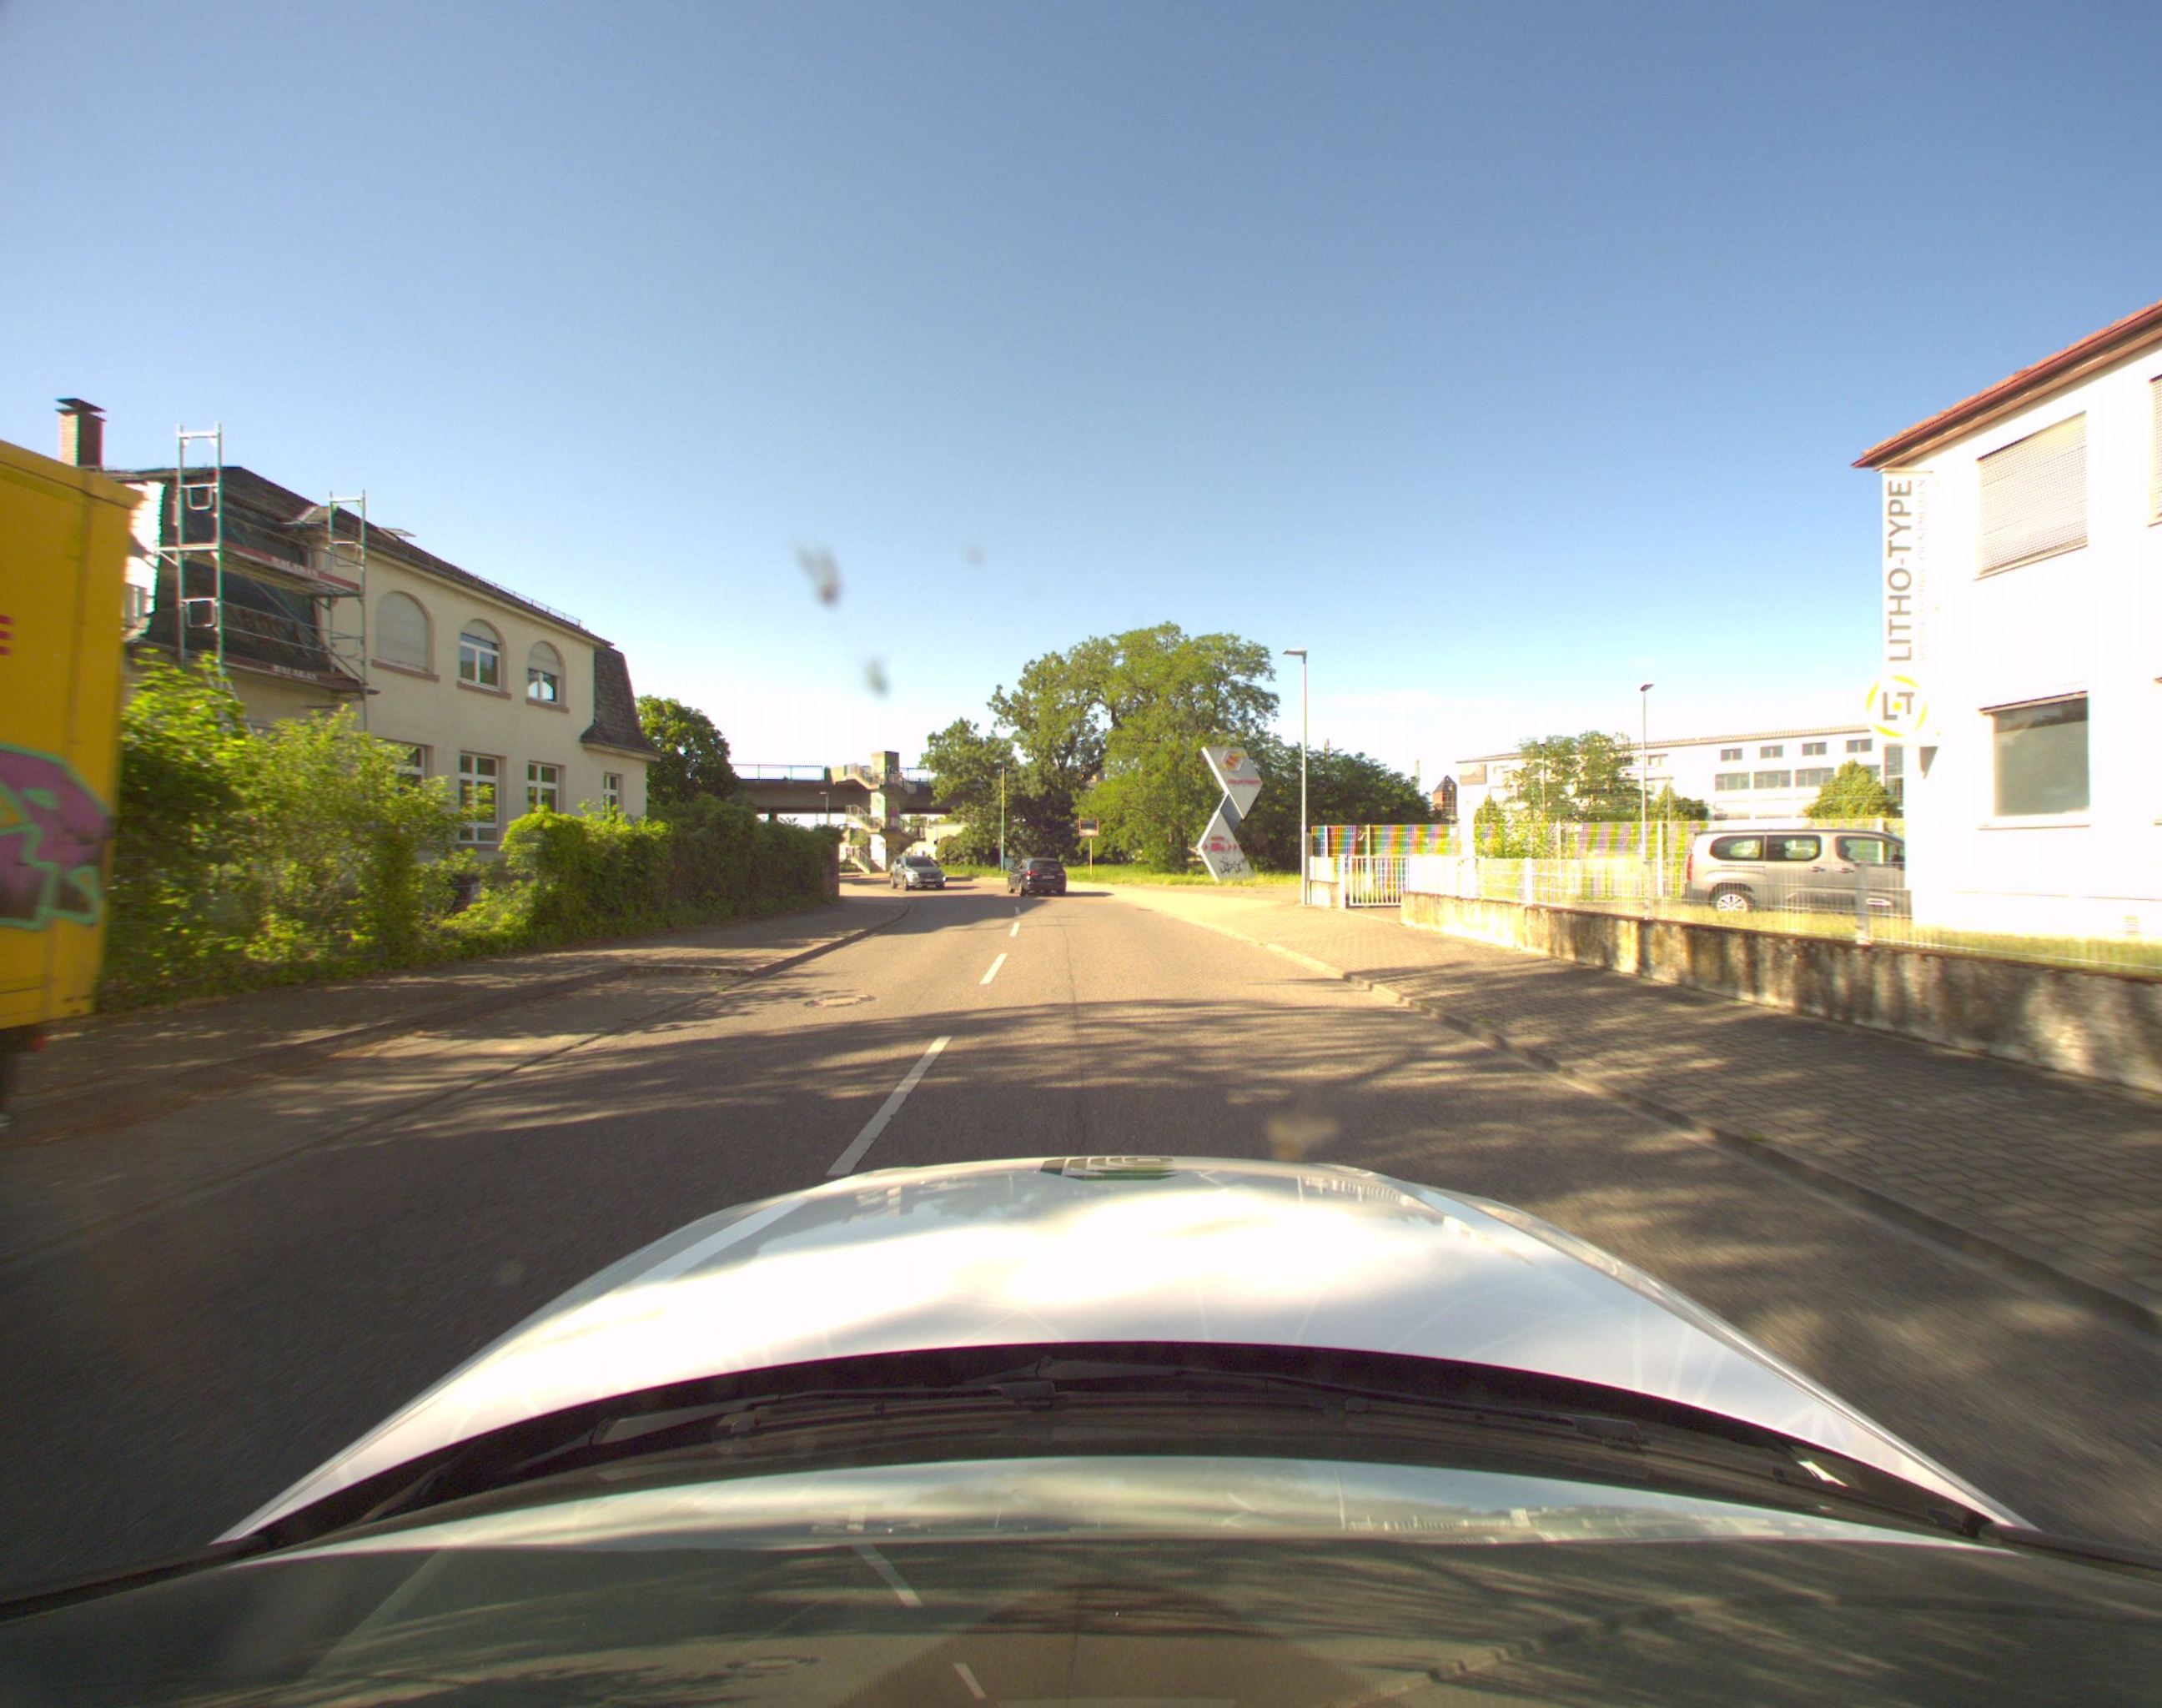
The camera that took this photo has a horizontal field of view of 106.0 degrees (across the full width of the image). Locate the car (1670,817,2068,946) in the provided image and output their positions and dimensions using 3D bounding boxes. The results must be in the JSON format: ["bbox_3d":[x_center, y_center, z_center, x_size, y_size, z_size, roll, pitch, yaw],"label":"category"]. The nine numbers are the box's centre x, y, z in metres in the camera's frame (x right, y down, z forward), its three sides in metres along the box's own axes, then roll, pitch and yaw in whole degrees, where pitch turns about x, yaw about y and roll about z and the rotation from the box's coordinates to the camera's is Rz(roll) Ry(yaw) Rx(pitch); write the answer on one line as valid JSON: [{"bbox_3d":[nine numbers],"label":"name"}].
[{"bbox_3d":[14.321,0.448,15.197,1.891,2.013,5.098,-1,0,-42],"label":"car"}]

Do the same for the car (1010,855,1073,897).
[{"bbox_3d":[-1.636,0.822,32.603,1.849,1.530,3.982,-1,0,-13],"label":"car"}]

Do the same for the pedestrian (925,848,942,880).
[{"bbox_3d":[-9.515,0.655,52.542,0.786,2.014,0.858,2,-1,-38],"label":"pedestrian"}]

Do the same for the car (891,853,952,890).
[{"bbox_3d":[-7.886,0.820,39.999,2.003,1.686,4.171,-1,0,-25],"label":"car"}]

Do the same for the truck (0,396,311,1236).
[{"bbox_3d":[-5.894,-0.174,0.254,2.622,3.504,8.660,5,1,1],"label":"truck"}]

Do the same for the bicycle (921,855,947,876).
[{"bbox_3d":[-9.453,0.735,52.340,0.809,1.268,2.235,2,-1,-34],"label":"bicycle"}]
